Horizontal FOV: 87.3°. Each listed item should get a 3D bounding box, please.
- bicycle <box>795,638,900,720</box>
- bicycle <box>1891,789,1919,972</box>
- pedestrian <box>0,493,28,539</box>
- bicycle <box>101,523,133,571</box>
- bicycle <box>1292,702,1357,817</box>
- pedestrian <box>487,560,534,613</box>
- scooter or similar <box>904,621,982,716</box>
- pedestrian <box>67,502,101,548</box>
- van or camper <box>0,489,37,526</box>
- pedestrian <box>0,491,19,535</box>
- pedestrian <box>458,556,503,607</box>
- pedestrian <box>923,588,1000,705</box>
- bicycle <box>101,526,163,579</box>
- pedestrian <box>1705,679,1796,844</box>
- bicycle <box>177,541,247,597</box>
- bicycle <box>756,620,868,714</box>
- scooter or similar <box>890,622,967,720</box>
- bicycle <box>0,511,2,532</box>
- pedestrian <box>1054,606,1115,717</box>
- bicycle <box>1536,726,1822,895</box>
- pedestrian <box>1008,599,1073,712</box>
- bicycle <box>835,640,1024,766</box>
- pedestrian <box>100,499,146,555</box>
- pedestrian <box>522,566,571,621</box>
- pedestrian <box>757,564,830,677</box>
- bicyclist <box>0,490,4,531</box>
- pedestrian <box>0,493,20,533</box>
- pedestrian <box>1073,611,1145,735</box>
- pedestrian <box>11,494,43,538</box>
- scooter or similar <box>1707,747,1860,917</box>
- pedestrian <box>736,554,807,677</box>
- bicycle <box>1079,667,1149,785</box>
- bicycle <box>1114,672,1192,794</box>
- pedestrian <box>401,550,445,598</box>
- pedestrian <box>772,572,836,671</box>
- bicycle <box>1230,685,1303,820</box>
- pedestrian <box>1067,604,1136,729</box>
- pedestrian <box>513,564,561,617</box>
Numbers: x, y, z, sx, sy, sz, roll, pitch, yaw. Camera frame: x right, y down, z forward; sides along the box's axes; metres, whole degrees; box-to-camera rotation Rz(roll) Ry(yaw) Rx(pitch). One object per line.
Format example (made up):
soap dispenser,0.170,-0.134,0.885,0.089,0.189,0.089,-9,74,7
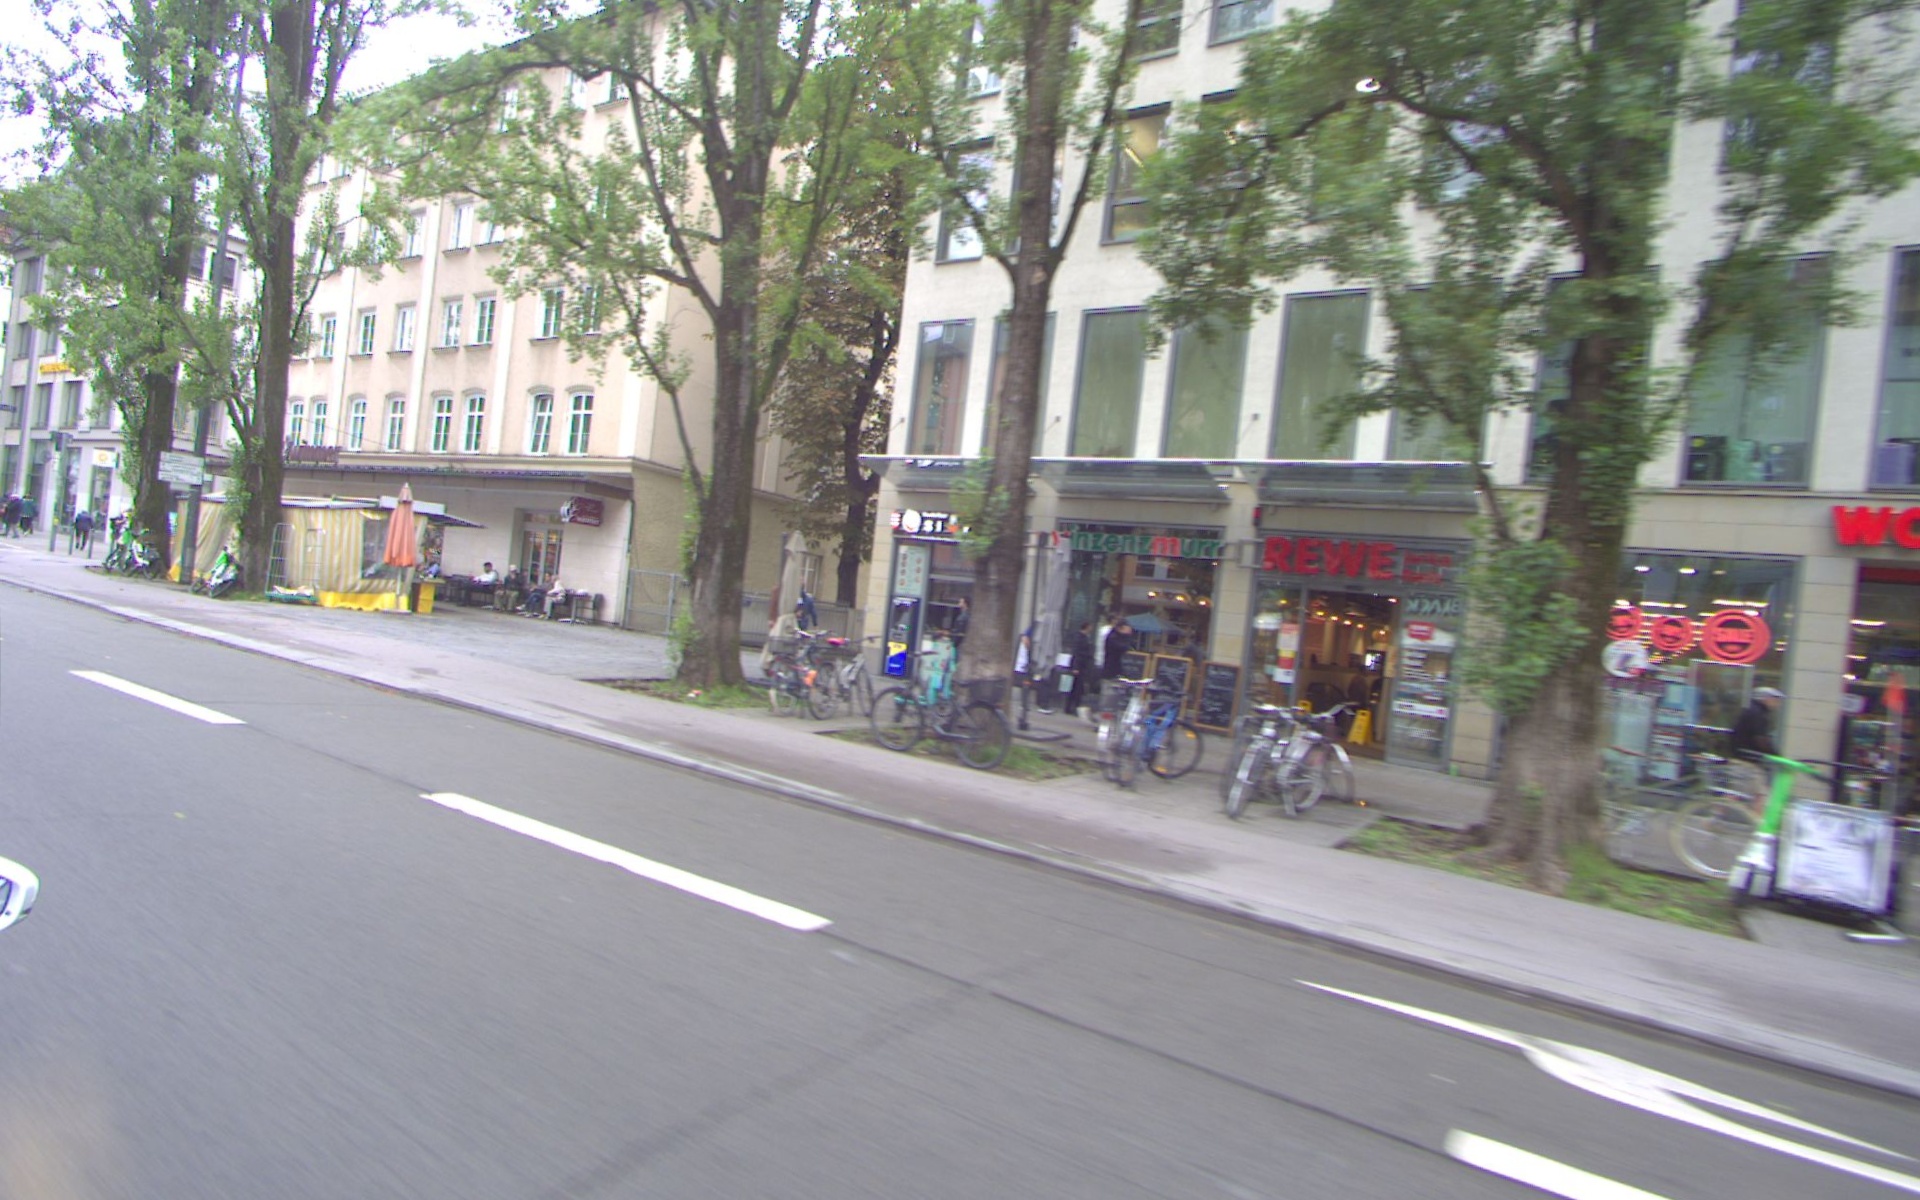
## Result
bicycle,-1.421,1.020,13.072,0.281,0.956,2.004,7,-1,24
bicycle,6.800,1.917,6.954,0.387,1.022,1.836,7,1,41
pedestrian,-39.201,-3.471,41.593,0.740,1.779,0.709,7,0,34
bicycle,-20.990,-1.336,25.027,0.404,1.080,1.791,13,-5,-41
bicycle,3.832,1.610,10.504,0.386,0.999,2.005,7,-1,24
pedestrian,-11.982,-0.351,26.839,0.688,1.280,0.776,7,0,33
scooter or similar,-0.256,1.016,15.084,1.019,1.289,0.330,7,0,33
pedestrian,-33.298,-2.852,38.258,0.723,1.657,0.750,5,0,35
van or camper,-56.883,-5.640,58.634,1.869,1.888,4.108,6,-3,36
pedestrian,-40.969,-3.735,43.046,0.845,1.779,0.750,5,-1,34
pedestrian,-13.273,-0.506,27.865,0.688,1.280,0.776,7,0,33
pedestrian,0.037,0.784,17.124,0.962,1.837,0.813,7,0,11
bicycle,-19.357,-1.109,23.506,1.741,1.061,0.509,7,0,31
pedestrian,9.260,1.871,11.806,0.632,1.788,0.594,7,0,36
bicycle,-15.944,-0.666,21.438,1.741,0.987,0.509,7,0,31
bicycle,-1.856,0.889,12.942,0.281,1.095,2.005,7,-2,24
scooter or similar,-0.460,1.029,14.637,1.019,1.289,0.247,7,0,33
bicycle,-31.077,-2.344,31.750,2.226,1.100,0.627,6,0,32
pedestrian,2.135,1.047,17.255,0.663,1.806,0.565,7,1,34
bicycle,6.437,1.846,9.123,1.974,1.076,0.391,7,1,37
pedestrian,1.363,0.937,17.027,0.663,1.806,0.657,7,1,34
bicycle,-0.353,1.097,11.017,1.968,1.074,0.434,7,0,23
pedestrian,-28.283,-2.455,34.004,0.847,1.723,0.665,5,-1,-14
pedestrian,-10.601,-0.167,25.810,0.688,1.280,0.776,7,0,33
pedestrian,-2.971,0.367,17.928,0.891,1.873,0.656,7,1,35
bicyclist,-30.257,-2.653,31.254,0.385,1.608,0.622,7,1,32
pedestrian,-42.781,-3.897,44.991,0.947,1.698,0.750,7,1,34
pedestrian,2.222,1.076,14.986,0.680,1.731,0.657,7,0,31
pedestrian,-40.551,-3.651,43.719,0.845,1.779,0.750,5,-1,34
scooter or similar,6.395,1.788,7.799,1.230,1.183,0.400,7,-1,-28
pedestrian,-3.217,0.268,17.181,0.711,1.996,0.656,7,1,36
bicycle,1.679,1.297,10.783,0.281,1.131,1.678,7,0,20
bicycle,2.057,1.350,10.584,0.389,1.120,1.666,7,0,22
pedestrian,-15.782,-0.771,29.578,0.688,1.280,0.776,7,0,33
pedestrian,-3.088,0.428,19.945,0.744,1.836,0.743,7,0,36
bicycle,3.055,1.444,9.931,0.334,1.149,1.870,7,0,24
pedestrian,2.225,1.041,15.773,0.680,1.842,0.622,7,1,31
pedestrian,-11.082,-0.245,26.364,0.688,1.280,0.776,7,0,33
